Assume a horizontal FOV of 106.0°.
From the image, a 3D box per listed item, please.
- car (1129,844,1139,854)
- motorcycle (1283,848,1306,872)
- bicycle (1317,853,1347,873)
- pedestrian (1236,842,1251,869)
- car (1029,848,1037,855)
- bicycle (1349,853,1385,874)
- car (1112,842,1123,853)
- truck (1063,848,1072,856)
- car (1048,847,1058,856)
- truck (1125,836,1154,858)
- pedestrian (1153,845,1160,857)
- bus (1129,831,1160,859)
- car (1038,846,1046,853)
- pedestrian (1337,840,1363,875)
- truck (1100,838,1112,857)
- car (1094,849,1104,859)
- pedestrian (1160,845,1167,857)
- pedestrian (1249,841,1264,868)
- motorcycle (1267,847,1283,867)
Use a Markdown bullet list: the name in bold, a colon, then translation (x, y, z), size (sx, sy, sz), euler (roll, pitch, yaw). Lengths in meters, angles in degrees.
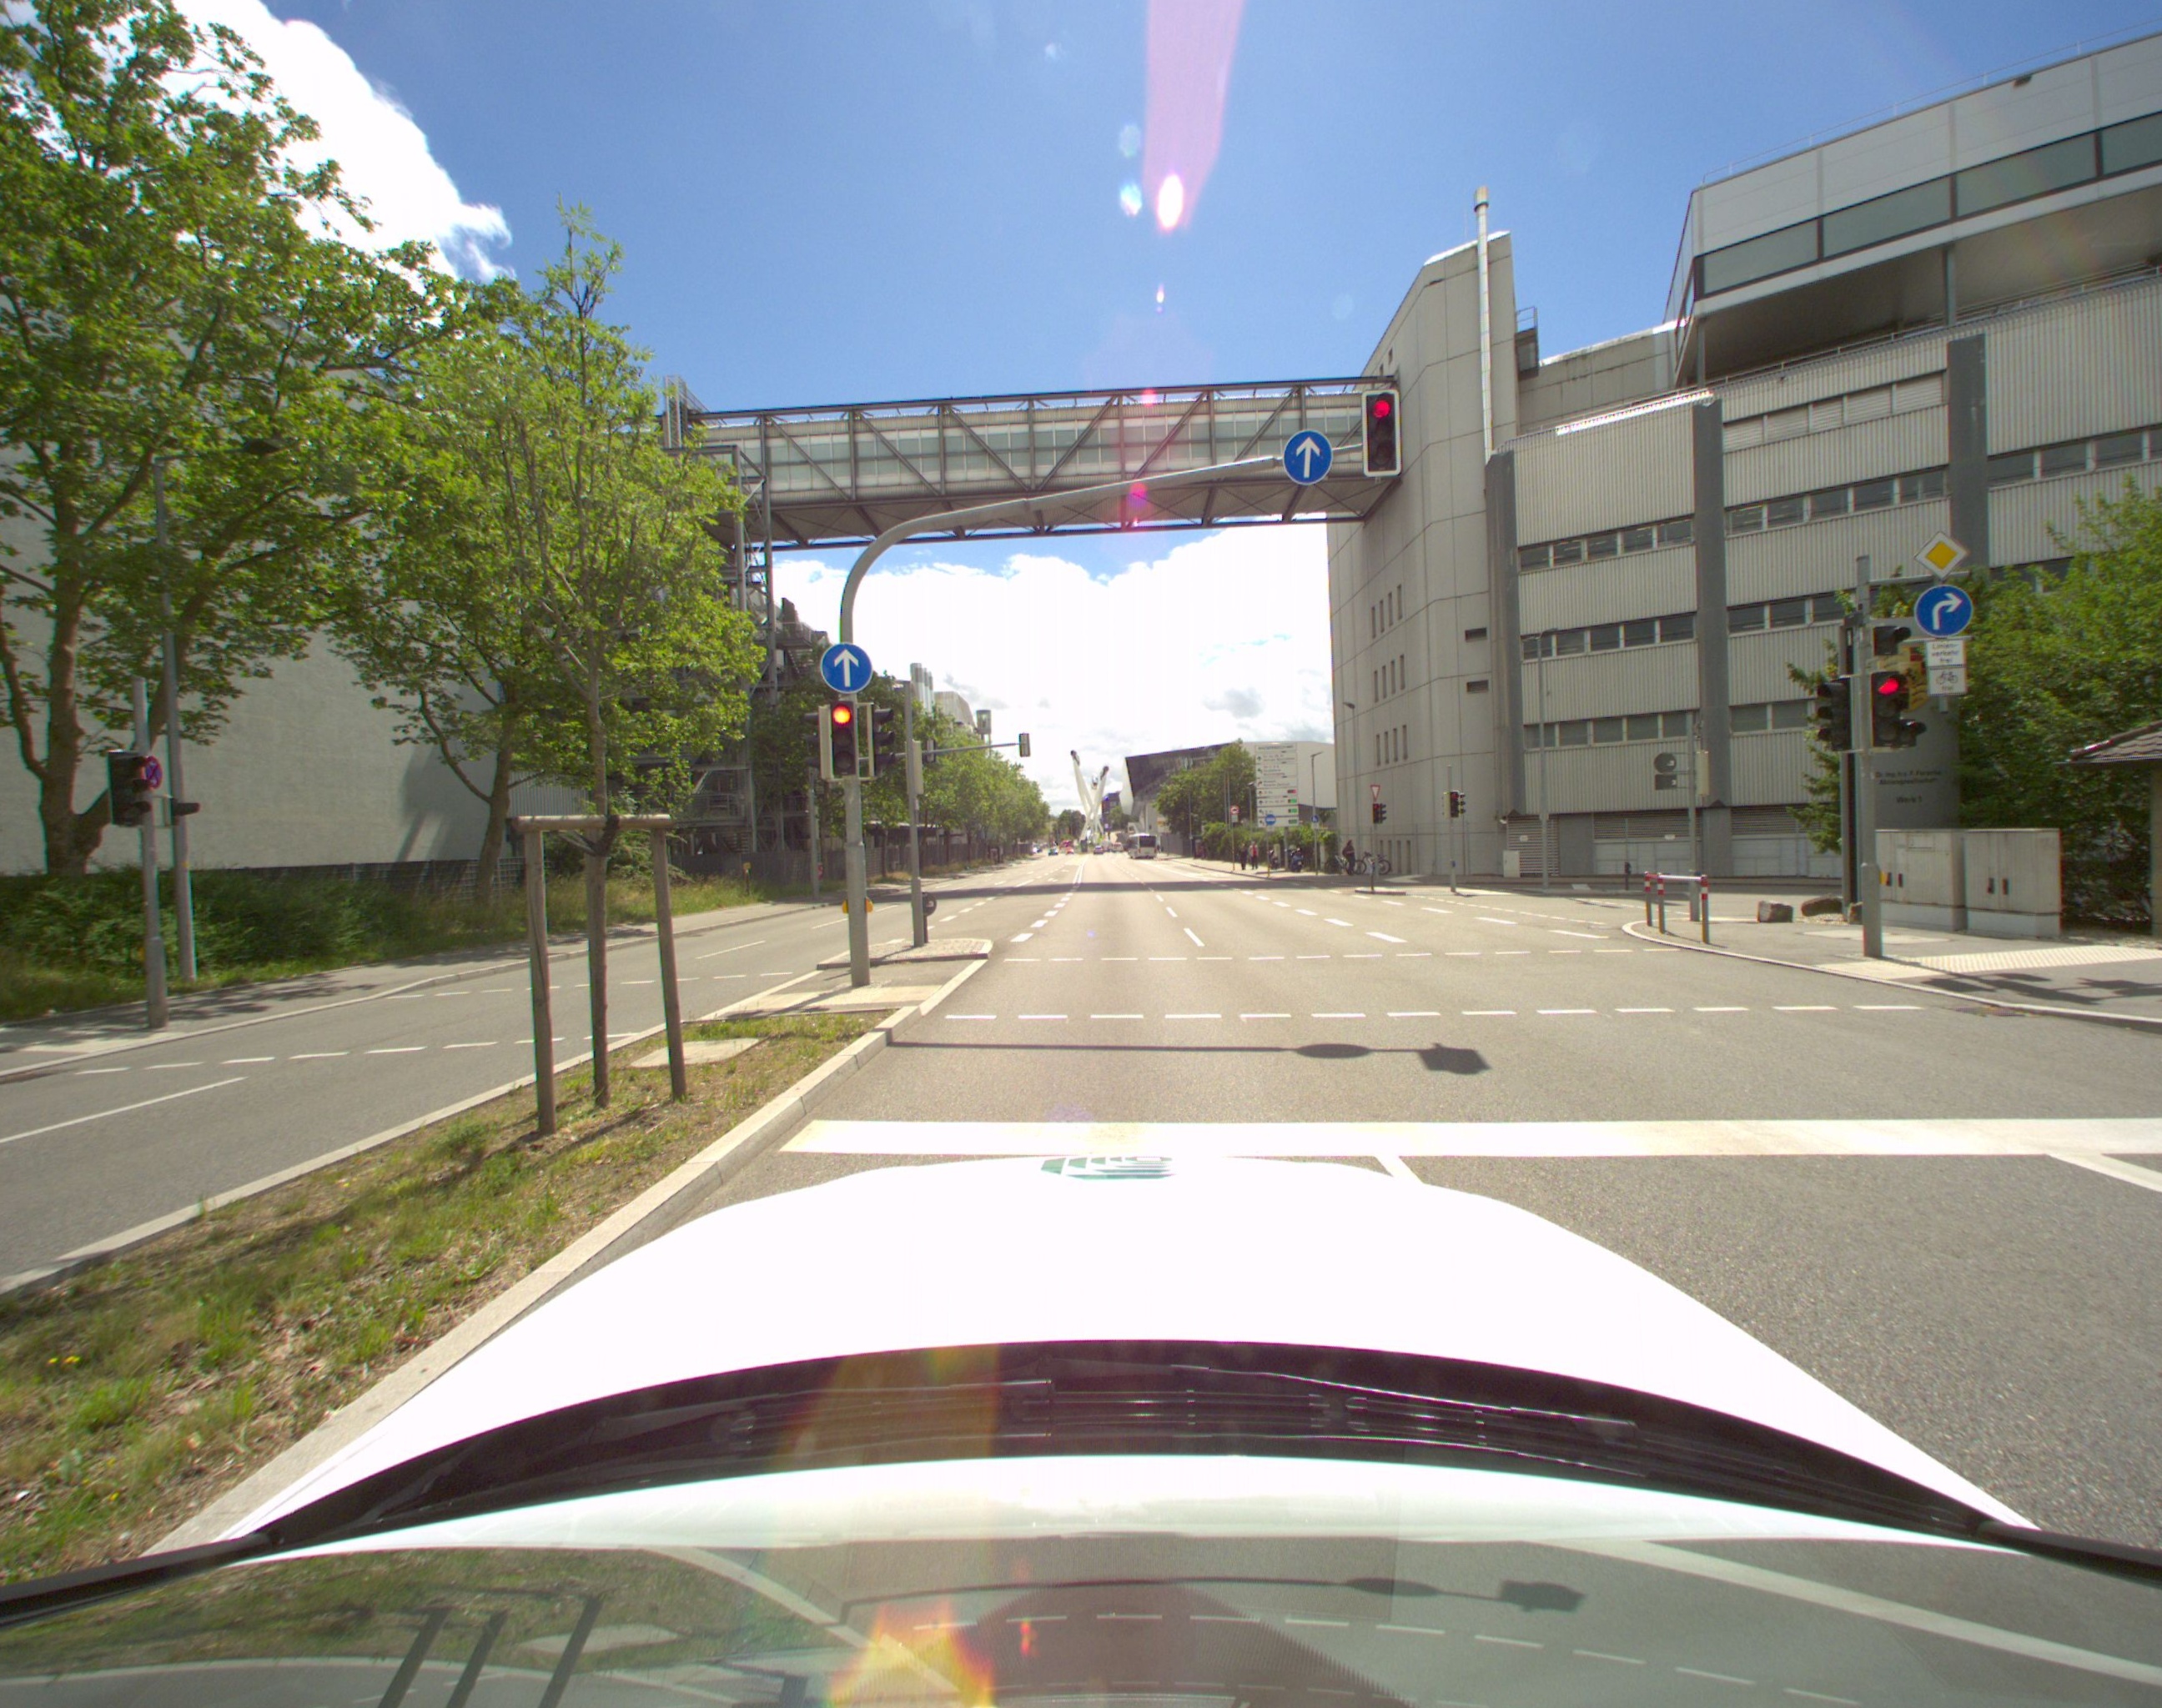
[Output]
- **car**: translation (9.990, -0.968, 153.911), size (1.732, 1.741, 3.693), euler (-1, 0, 2)
- **motorcycle**: translation (11.717, 0.322, 44.751), size (0.703, 1.203, 2.025), euler (-3, 1, 2)
- **bicycle**: translation (12.549, 0.450, 40.805), size (0.398, 0.937, 1.917), euler (-1, 0, -17)
- **pedestrian**: translation (10.603, 0.083, 53.103), size (0.817, 1.707, 0.881), euler (-1, 0, 1)
- **car**: translation (-12.088, -0.641, 204.859), size (1.813, 1.537, 3.678), euler (-3, 0, 0)
- **bicycle**: translation (13.493, 0.450, 38.493), size (0.399, 0.937, 1.913), euler (-1, 0, -24)
- **car**: translation (7.420, -1.266, 165.666), size (1.984, 2.014, 4.006), euler (-1, -1, 6)
- **truck**: translation (-2.605, -0.308, 161.242), size (1.580, 1.537, 3.673), euler (-1, 0, -4)
- **car**: translation (-5.663, -0.507, 165.384), size (1.813, 1.537, 3.678), euler (-3, 0, 0)
- **truck**: translation (12.405, -1.544, 171.664), size (3.424, 4.391, 9.466), euler (-1, 0, 19)
- **pedestrian**: translation (12.923, -0.539, 139.089), size (1.026, 2.014, 0.884), euler (0, -1, -2)
- **bus**: translation (8.526, -1.156, 110.524), size (3.441, 3.543, 10.605), euler (-1, 0, 0)
- **car**: translation (-10.415, -1.193, 217.326), size (1.813, 1.537, 3.678), euler (-3, 0, 0)
- **pedestrian**: translation (12.746, 0.182, 38.615), size (0.839, 1.624, 0.962), euler (-1, 0, 43)
- **truck**: translation (5.313, -1.374, 172.252), size (2.383, 3.897, 6.180), euler (-1, 0, 2)
- **car**: translation (3.302, -0.074, 148.814), size (1.732, 1.741, 3.693), euler (-1, 0, 2)
- **pedestrian**: translation (14.100, -0.518, 139.127), size (1.026, 2.014, 0.884), euler (0, -1, -2)
- **pedestrian**: translation (11.428, 0.016, 53.142), size (0.817, 1.741, 0.637), euler (-1, 0, 1)
- **motorcycle**: translation (12.539, 0.195, 52.597), size (0.572, 1.203, 2.025), euler (-3, 1, 2)
